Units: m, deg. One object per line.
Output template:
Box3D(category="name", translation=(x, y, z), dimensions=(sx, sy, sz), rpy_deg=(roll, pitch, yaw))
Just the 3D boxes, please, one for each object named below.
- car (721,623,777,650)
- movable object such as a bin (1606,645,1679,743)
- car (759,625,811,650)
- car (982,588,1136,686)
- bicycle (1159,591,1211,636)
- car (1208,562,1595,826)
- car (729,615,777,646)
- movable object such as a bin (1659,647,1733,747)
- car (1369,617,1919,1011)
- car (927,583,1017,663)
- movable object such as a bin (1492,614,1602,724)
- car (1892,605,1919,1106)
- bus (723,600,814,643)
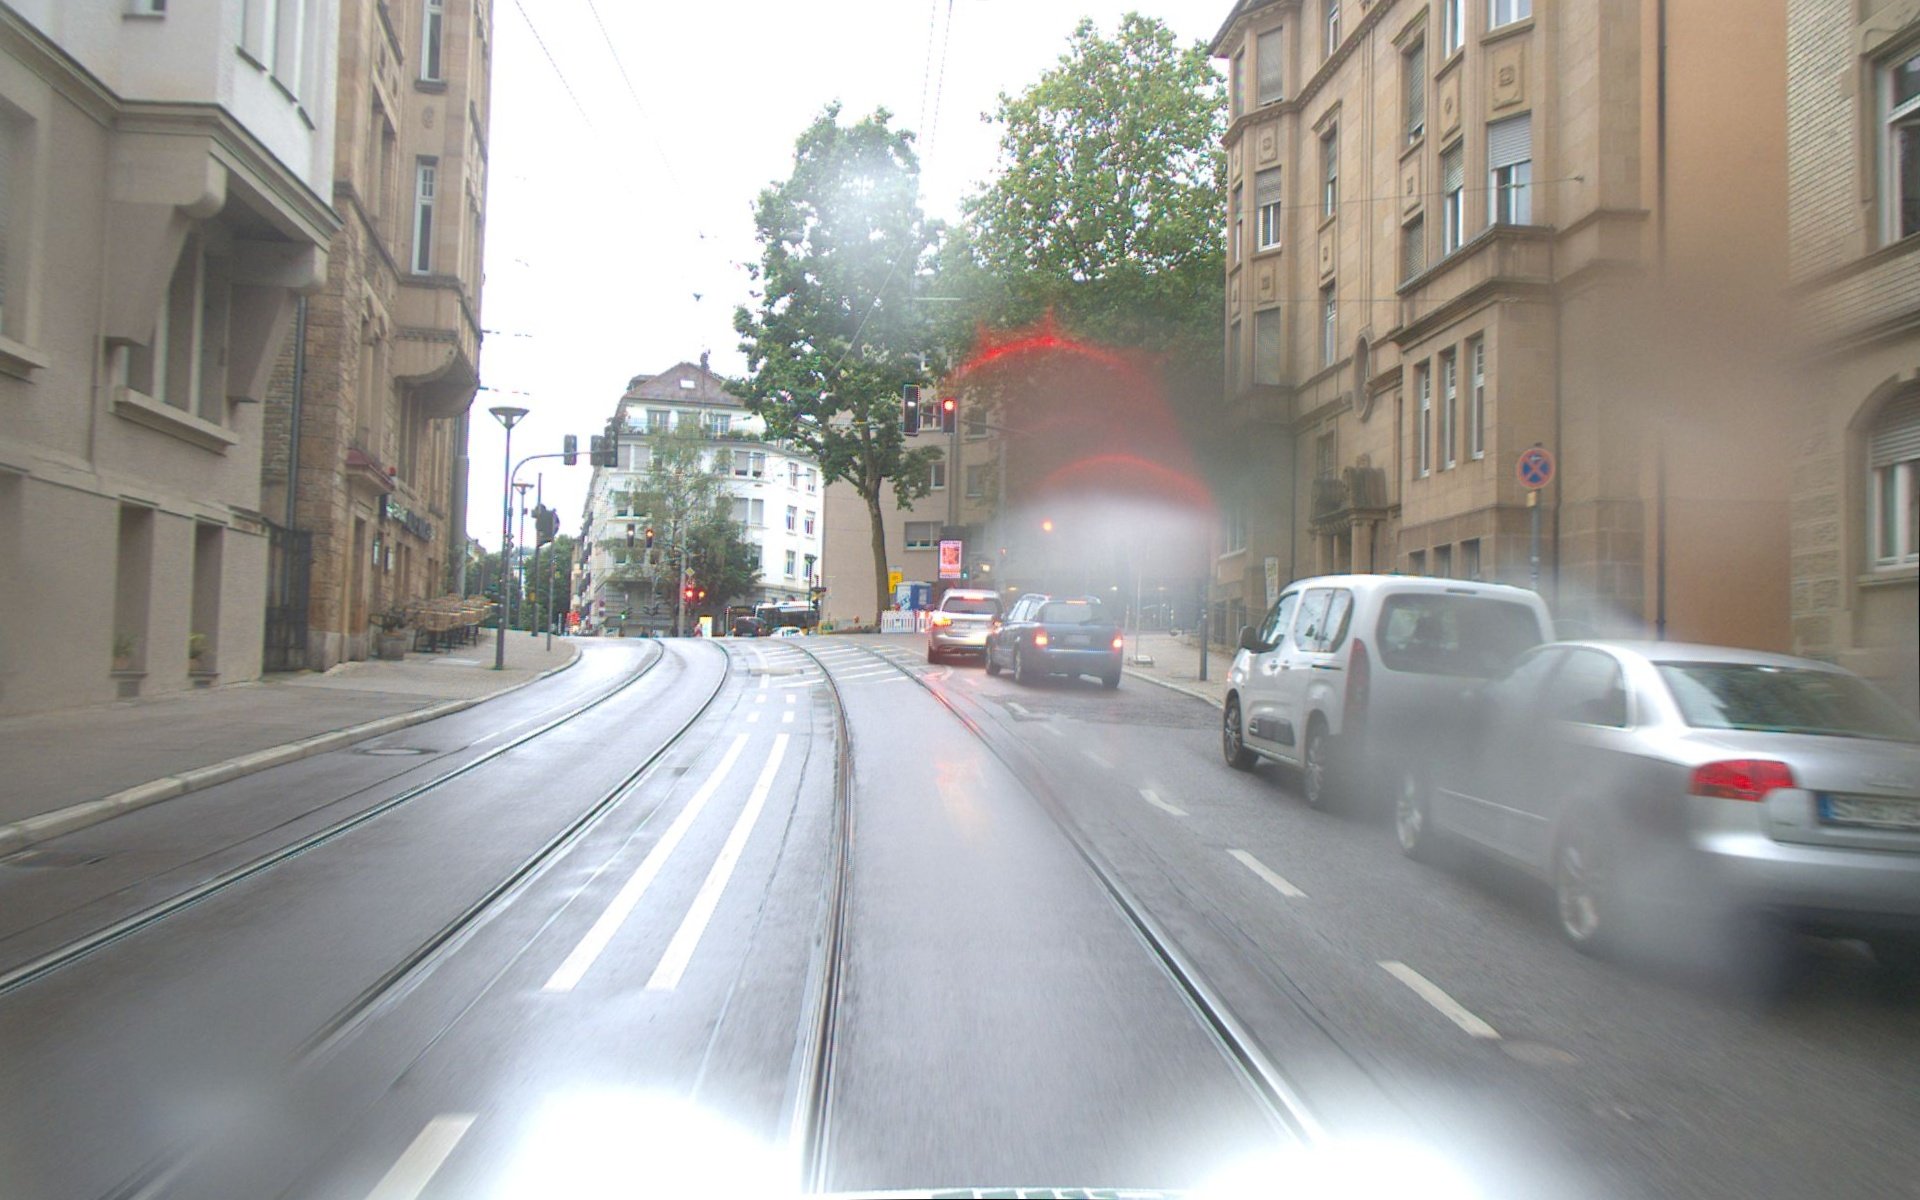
Box3D(category="car", translation=(-13.573, 2.342, 106.484), dimensions=(1.758, 1.642, 3.999), rpy_deg=(1, 0, 23))
Box3D(category="movable object such as a bin", translation=(7.833, 1.065, 18.991), dimensions=(0.517, 1.048, 0.664), rpy_deg=(5, -1, 3))
Box3D(category="car", translation=(-11.758, 2.523, 111.509), dimensions=(1.758, 1.536, 3.999), rpy_deg=(1, 0, 23))
Box3D(category="car", translation=(1.602, 0.576, 28.135), dimensions=(1.679, 1.440, 4.026), rpy_deg=(2, 1, -10))
Box3D(category="bicycle", translation=(6.028, 0.358, 44.354), dimensions=(1.275, 1.194, 0.525), rpy_deg=(-1, 0, -6))
Box3D(category="car", translation=(3.503, 0.662, 14.081), dimensions=(1.762, 1.795, 4.459), rpy_deg=(3, 0, -4))
Box3D(category="car", translation=(-11.297, 1.658, 90.537), dimensions=(1.756, 1.536, 4.002), rpy_deg=(-1, 0, 5))
Box3D(category="movable object such as a bin", translation=(8.454, 1.103, 19.009), dimensions=(0.489, 1.079, 0.609), rpy_deg=(5, -1, -3))
Box3D(category="car", translation=(3.676, 0.891, 8.757), dimensions=(1.714, 1.425, 4.476), rpy_deg=(3, 0, -2))
Box3D(category="car", translation=(0.194, 0.427, 33.985), dimensions=(1.676, 1.481, 3.552), rpy_deg=(2, 1, -2))
Box3D(category="movable object such as a bin", translation=(8.450, 0.979, 23.868), dimensions=(0.953, 1.456, 1.278), rpy_deg=(5, -1, -6))
Box3D(category="car", translation=(3.929, 0.863, 3.605), dimensions=(1.529, 1.573, 3.581), rpy_deg=(3, 0, -4))
Box3D(category="bus", translation=(-13.495, 1.465, 117.481), dimensions=(2.795, 2.911, 8.735), rpy_deg=(1, 0, 20))
